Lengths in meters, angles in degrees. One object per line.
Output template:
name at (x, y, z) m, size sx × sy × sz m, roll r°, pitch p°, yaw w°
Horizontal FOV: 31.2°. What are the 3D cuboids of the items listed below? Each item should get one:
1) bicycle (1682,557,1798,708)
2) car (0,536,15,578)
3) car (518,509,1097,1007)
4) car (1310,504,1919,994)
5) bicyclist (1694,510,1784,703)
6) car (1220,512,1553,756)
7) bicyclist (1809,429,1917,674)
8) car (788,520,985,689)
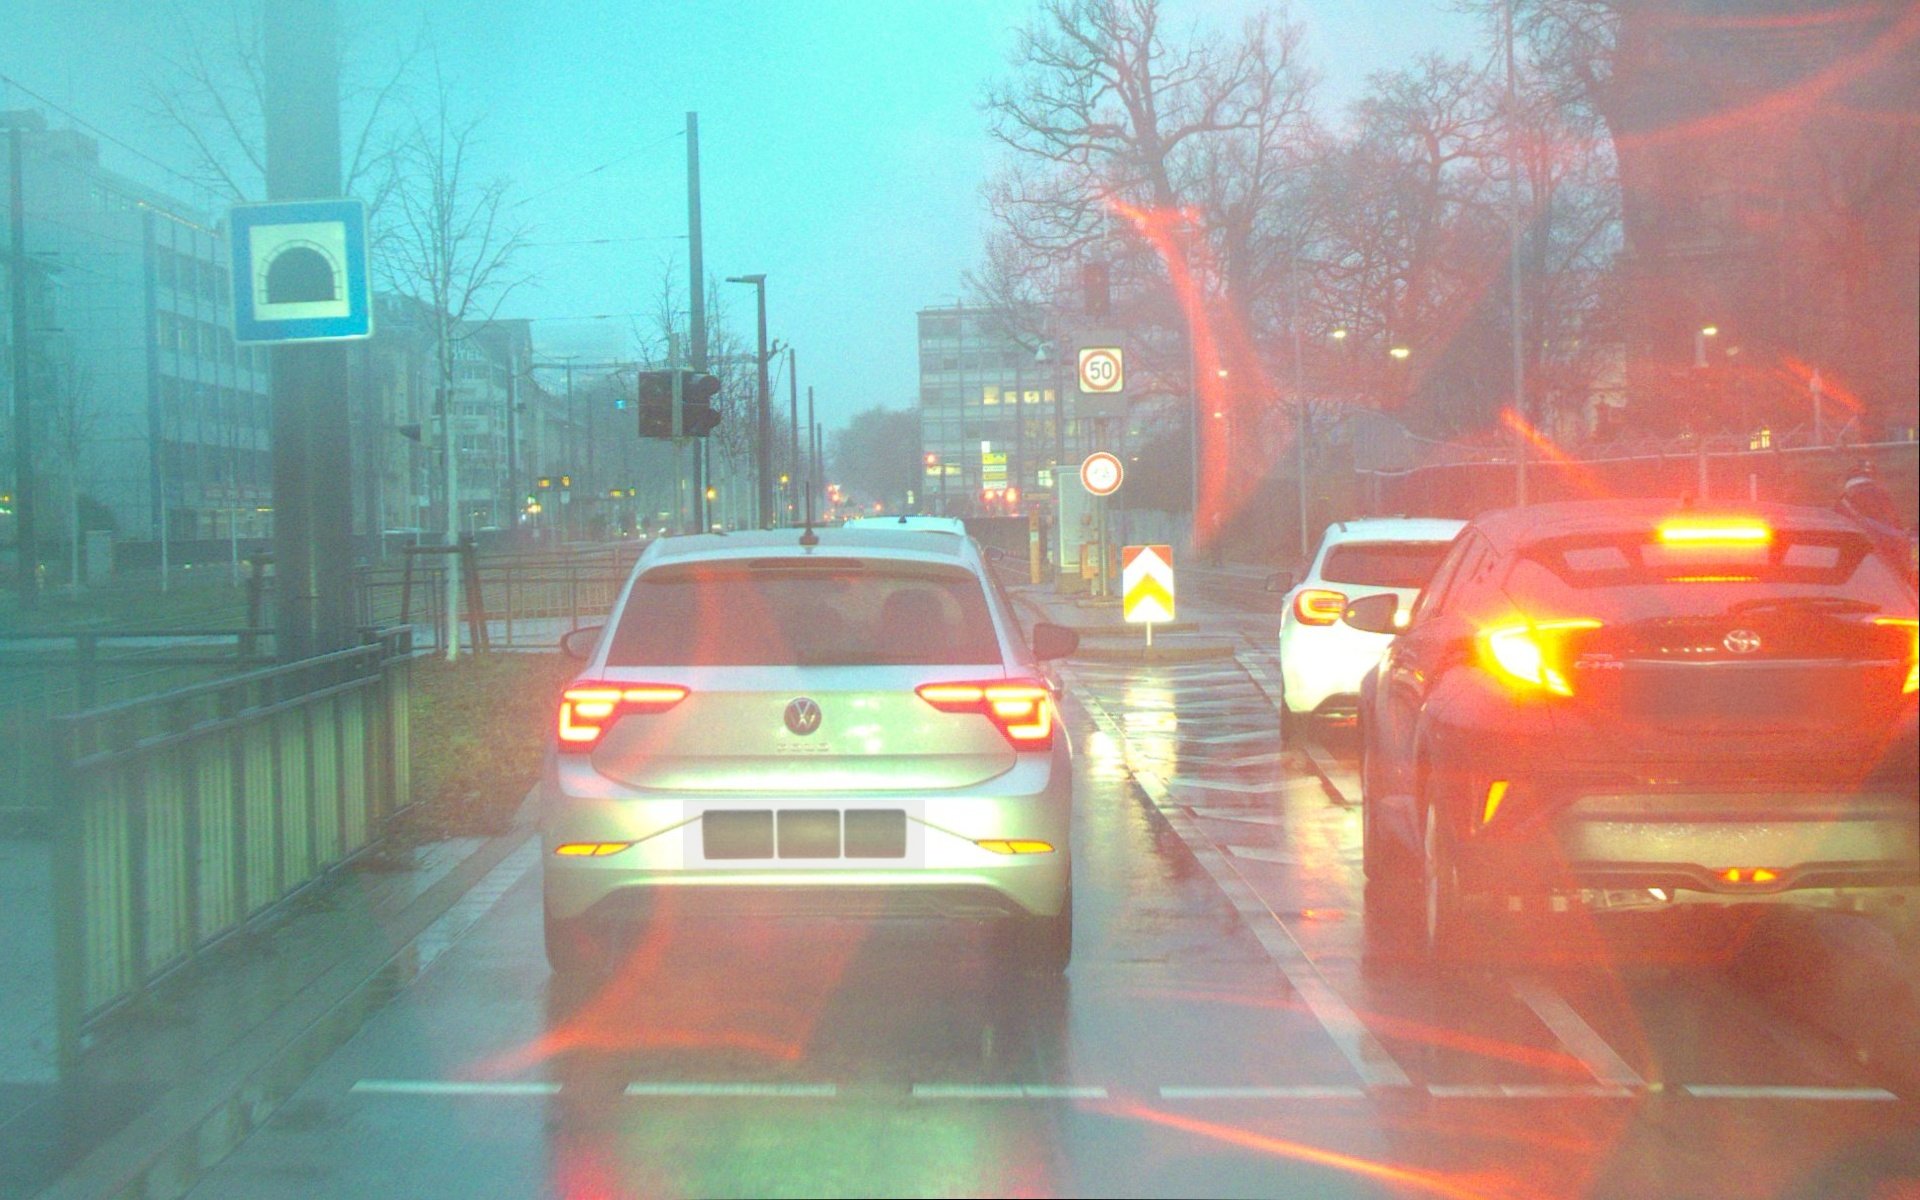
bicycle at (6.552, 0.251, 28.949) m, size 0.411 × 1.181 × 1.949 m, roll -2°, pitch 2°, yaw -3°
car at (-34.587, -1.476, 120.837) m, size 1.806 × 1.431 × 3.928 m, roll -2°, pitch 2°, yaw -3°
car at (-0.454, 0.444, 12.293) m, size 1.722 × 1.474 × 4.000 m, roll 0°, pitch 1°, yaw 0°
car at (2.310, 0.423, 12.429) m, size 1.722 × 1.474 × 4.000 m, roll 1°, pitch 1°, yaw 1°
bicyclist at (6.554, 0.044, 28.942) m, size 0.500 × 1.586 × 0.837 m, roll -2°, pitch 2°, yaw -3°
car at (2.755, 0.179, 22.988) m, size 1.722 × 1.474 × 4.000 m, roll 0°, pitch 1°, yaw 0°
bicyclist at (6.623, -0.362, 25.228) m, size 0.500 × 1.761 × 0.837 m, roll -2°, pitch 2°, yaw -3°
car at (-0.648, 0.012, 32.310) m, size 1.722 × 1.474 × 4.000 m, roll 0°, pitch 1°, yaw 0°
